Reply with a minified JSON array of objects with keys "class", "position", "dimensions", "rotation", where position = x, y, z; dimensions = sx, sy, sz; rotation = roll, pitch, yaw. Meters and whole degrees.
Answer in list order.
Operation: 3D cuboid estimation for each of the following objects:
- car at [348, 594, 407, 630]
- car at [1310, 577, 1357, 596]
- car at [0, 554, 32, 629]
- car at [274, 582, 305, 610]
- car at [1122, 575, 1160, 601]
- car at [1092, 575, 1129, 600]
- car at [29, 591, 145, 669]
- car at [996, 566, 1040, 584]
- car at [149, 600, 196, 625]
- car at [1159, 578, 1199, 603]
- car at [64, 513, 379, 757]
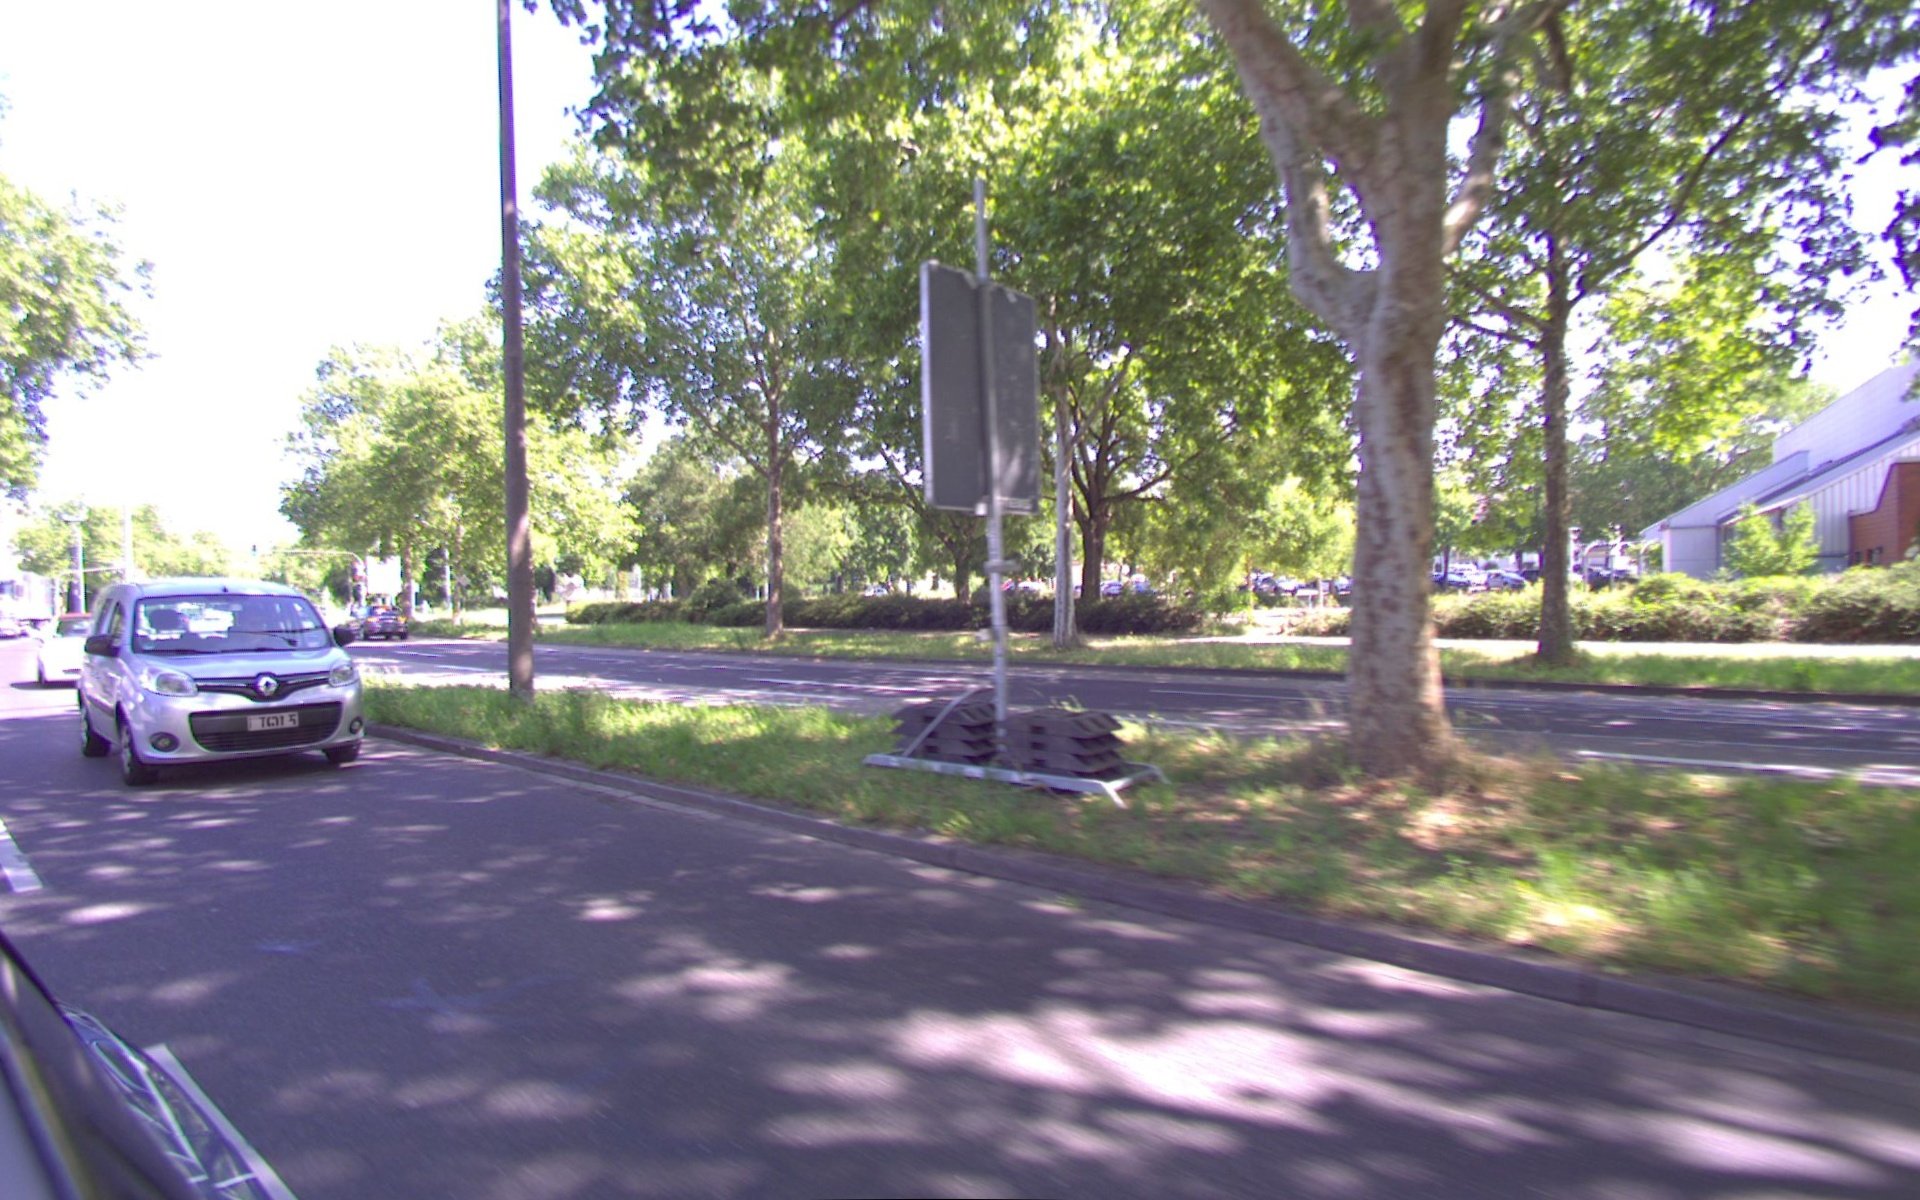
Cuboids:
[{"class":"car","position":[-26.619,0.536,46.184],"dimensions":[1.771,1.568,4.405],"rotation":[-1,0,-38]},{"class":"car","position":[31.316,-1.103,84.990],"dimensions":[1.787,1.502,4.010],"rotation":[-1,1,-13]},{"class":"car","position":[-53.533,-0.427,56.013],"dimensions":[2.860,3.950,7.152],"rotation":[-1,0,-40]},{"class":"car","position":[-65.244,-0.342,98.574],"dimensions":[2.032,2.633,7.240],"rotation":[0,0,-29]},{"class":"car","position":[14.972,-0.999,83.911],"dimensions":[1.788,2.029,4.009],"rotation":[-1,0,-10]},{"class":"car","position":[12.474,-1.010,84.069],"dimensions":[1.788,2.029,4.009],"rotation":[-1,0,-10]},{"class":"car","position":[-18.685,0.612,21.595],"dimensions":[1.665,1.502,4.379],"rotation":[1,-2,-43]},{"class":"car","position":[5.621,-2.417,98.235],"dimensions":[3.927,1.715,1.817],"rotation":[-2,1,-4]},{"class":"car","position":[-50.326,0.777,64.762],"dimensions":[1.670,1.519,4.143],"rotation":[-2,1,-28]},{"class":"car","position":[18.244,-0.763,84.421],"dimensions":[1.788,2.029,4.009],"rotation":[-1,0,-10]},{"class":"car","position":[-7.370,0.327,9.916],"dimensions":[1.850,1.854,4.378],"rotation":[1,-2,-45]}]
